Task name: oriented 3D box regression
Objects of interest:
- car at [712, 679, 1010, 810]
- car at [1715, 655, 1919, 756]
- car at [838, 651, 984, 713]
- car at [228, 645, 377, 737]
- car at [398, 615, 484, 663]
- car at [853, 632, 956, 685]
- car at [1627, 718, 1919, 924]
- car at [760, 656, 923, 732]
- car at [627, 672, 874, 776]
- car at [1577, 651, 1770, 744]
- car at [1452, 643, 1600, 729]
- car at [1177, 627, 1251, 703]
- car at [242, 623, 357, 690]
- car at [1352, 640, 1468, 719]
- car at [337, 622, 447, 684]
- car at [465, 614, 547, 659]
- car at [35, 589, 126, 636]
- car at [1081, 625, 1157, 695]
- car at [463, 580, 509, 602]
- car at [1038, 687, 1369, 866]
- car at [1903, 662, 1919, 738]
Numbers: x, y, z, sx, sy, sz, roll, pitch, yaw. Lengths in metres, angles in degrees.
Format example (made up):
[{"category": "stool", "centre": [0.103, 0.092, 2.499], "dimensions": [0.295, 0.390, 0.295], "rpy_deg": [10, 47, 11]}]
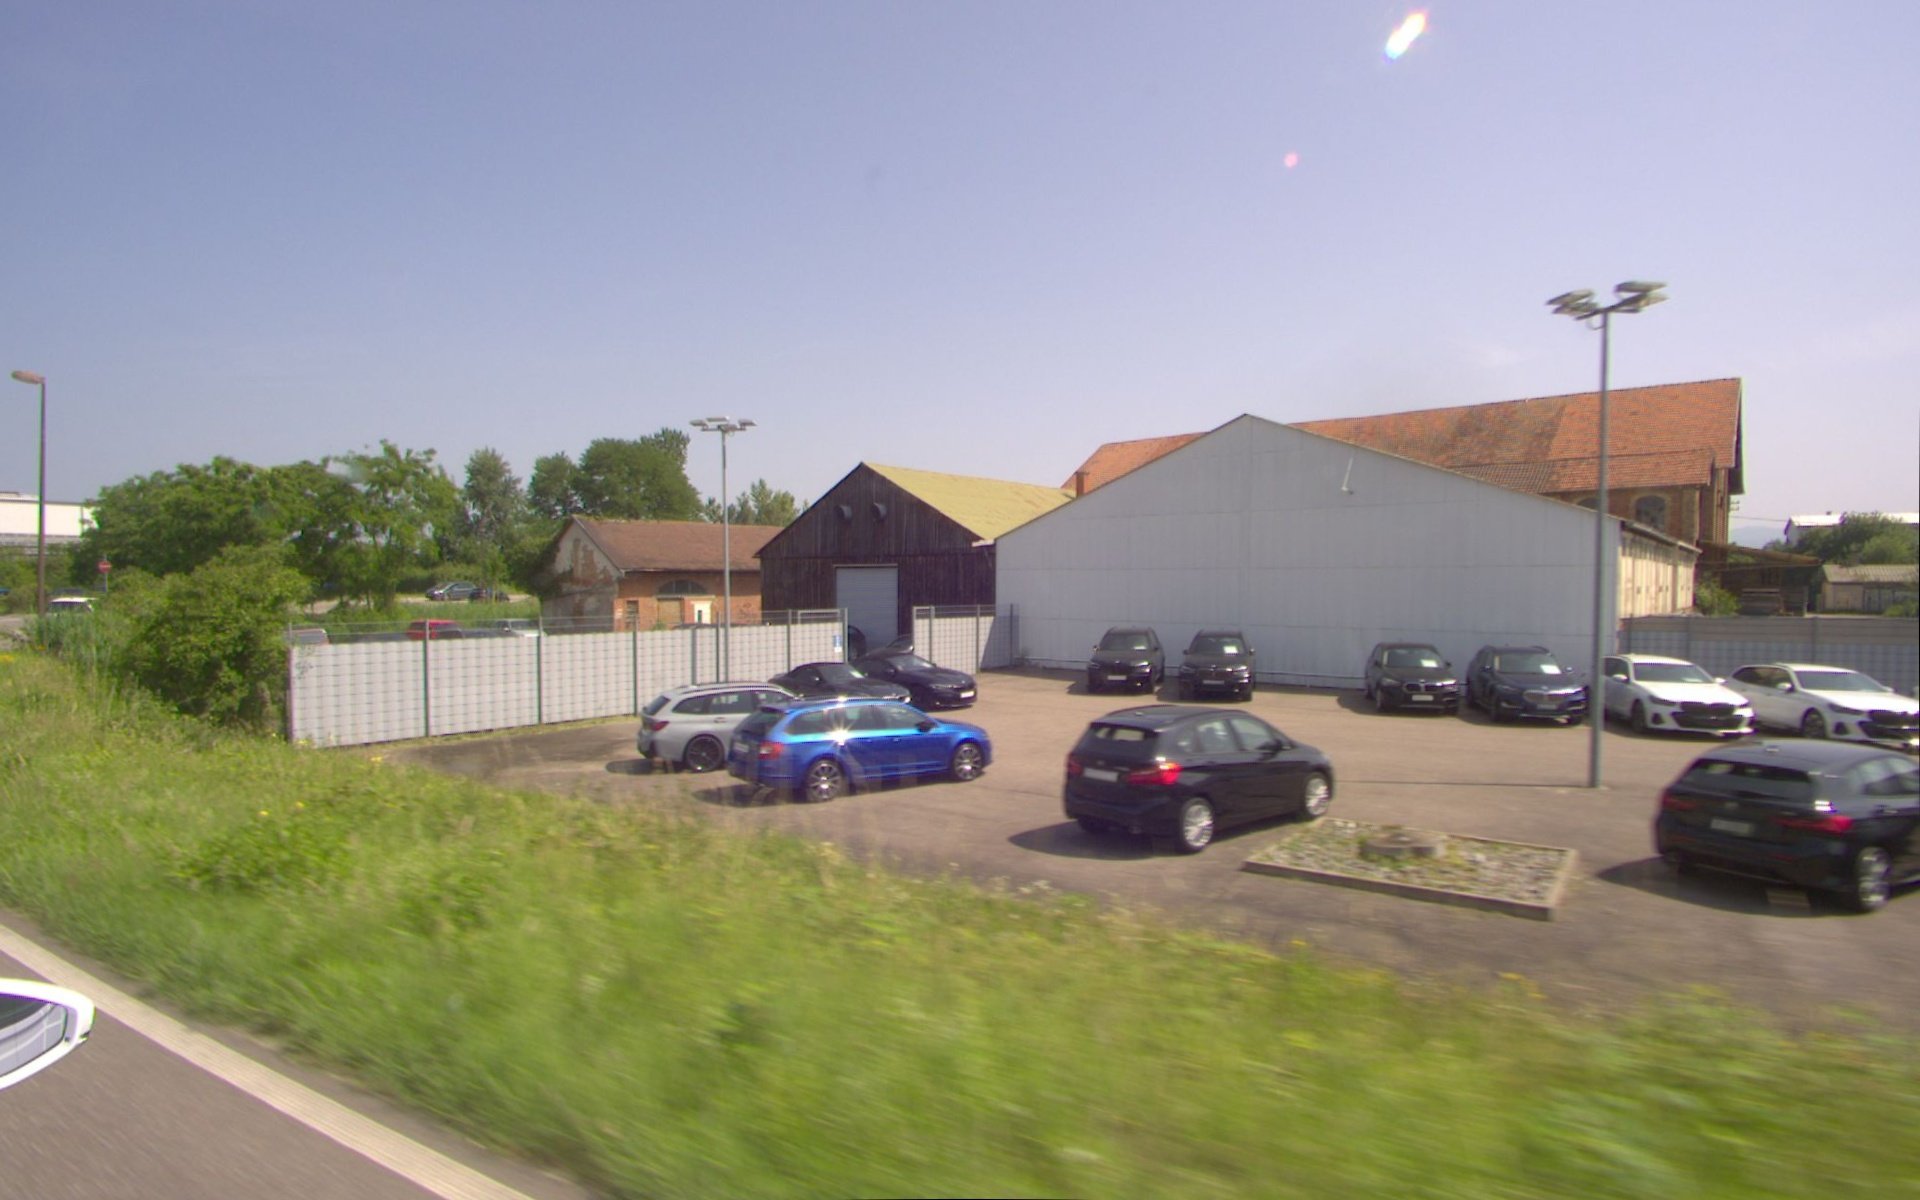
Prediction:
[{"category": "car", "centre": [-1.549, 2.244, 16.463], "dimensions": [4.584, 1.518, 1.843], "rpy_deg": [0, 2, -35]}, {"category": "car", "centre": [17.738, 2.060, 20.528], "dimensions": [1.876, 1.543, 4.609], "rpy_deg": [1, 0, 13]}, {"category": "car", "centre": [-1.391, 2.158, 27.305], "dimensions": [1.978, 1.416, 3.966], "rpy_deg": [0, -1, -40]}, {"category": "car", "centre": [-16.628, 2.202, 25.279], "dimensions": [3.950, 2.040, 1.986], "rpy_deg": [-1, -1, 38]}, {"category": "car", "centre": [-23.411, 1.717, 45.115], "dimensions": [3.950, 2.040, 1.986], "rpy_deg": [-1, -1, 38]}, {"category": "car", "centre": [-1.989, 2.113, 36.810], "dimensions": [1.655, 1.773, 3.720], "rpy_deg": [-1, -1, 41]}, {"category": "car", "centre": [9.260, 2.187, 10.675], "dimensions": [3.972, 1.462, 1.766], "rpy_deg": [0, 1, -25]}, {"category": "car", "centre": [-3.065, 2.257, 25.078], "dimensions": [1.836, 1.554, 4.604], "rpy_deg": [0, -1, -40]}, {"category": "car", "centre": [-3.947, 2.249, 18.836], "dimensions": [4.302, 1.523, 1.836], "rpy_deg": [0, 1, -23]}, {"category": "car", "centre": [15.372, 2.028, 21.882], "dimensions": [1.876, 1.543, 4.333], "rpy_deg": [1, 0, 13]}, {"category": "car", "centre": [13.229, 1.944, 23.705], "dimensions": [1.876, 1.597, 4.333], "rpy_deg": [1, 0, 13]}, {"category": "car", "centre": [7.177, 1.773, 28.546], "dimensions": [1.876, 1.828, 4.333], "rpy_deg": [1, 0, 13]}, {"category": "car", "centre": [-21.493, 1.777, 32.553], "dimensions": [3.950, 2.040, 1.986], "rpy_deg": [-1, -1, 38]}, {"category": "car", "centre": [11.323, 1.937, 25.500], "dimensions": [1.876, 1.597, 4.333], "rpy_deg": [1, 0, 13]}, {"category": "car", "centre": [-19.833, 1.796, 34.938], "dimensions": [3.950, 2.040, 1.986], "rpy_deg": [-1, -1, 38]}, {"category": "car", "centre": [-21.768, 1.716, 47.990], "dimensions": [3.950, 2.040, 1.986], "rpy_deg": [-1, -1, 38]}, {"category": "car", "centre": [-35.890, 0.560, 40.971], "dimensions": [1.762, 1.621, 3.878], "rpy_deg": [6, -6, -27]}, {"category": "car", "centre": [4.922, 1.744, 30.528], "dimensions": [1.961, 1.828, 4.333], "rpy_deg": [1, 0, 13]}, {"category": "car", "centre": [-39.174, -0.708, 82.856], "dimensions": [1.752, 1.623, 3.794], "rpy_deg": [0, -2, 4]}, {"category": "car", "centre": [3.341, 2.148, 13.257], "dimensions": [4.588, 1.626, 1.842], "rpy_deg": [0, 0, -38]}, {"category": "car", "centre": [20.242, 2.084, 18.800], "dimensions": [1.877, 1.543, 4.652], "rpy_deg": [-1, 0, 18]}]
